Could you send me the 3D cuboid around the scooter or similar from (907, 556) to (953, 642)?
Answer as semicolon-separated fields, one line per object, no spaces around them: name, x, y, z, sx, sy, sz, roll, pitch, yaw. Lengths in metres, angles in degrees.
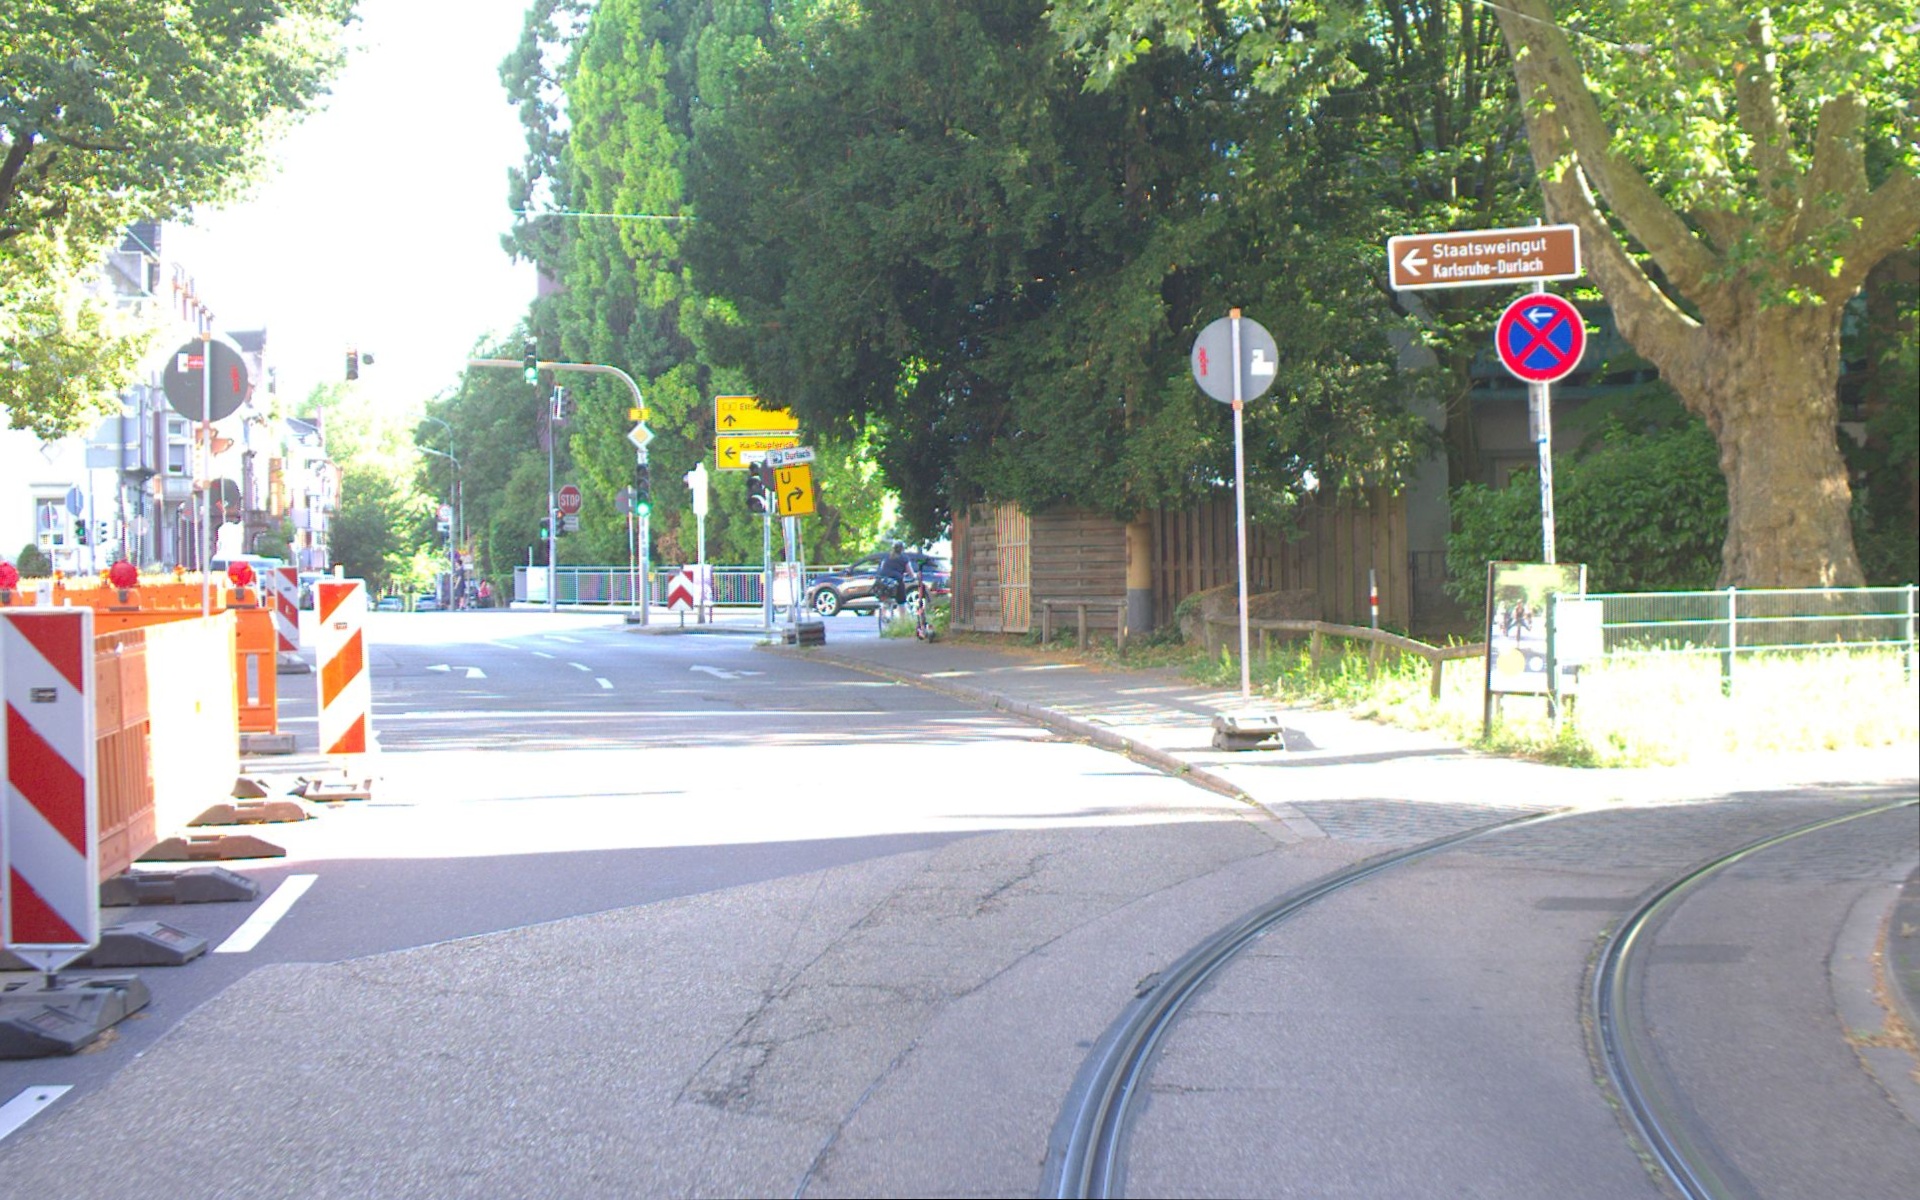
scooter or similar;-0.432;-0.019;49.444;0.438;1.198;1.259;-3;1;-8

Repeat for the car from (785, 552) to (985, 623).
car;-1.897;-0.307;86.079;4.657;1.664;1.996;0;-2;34
